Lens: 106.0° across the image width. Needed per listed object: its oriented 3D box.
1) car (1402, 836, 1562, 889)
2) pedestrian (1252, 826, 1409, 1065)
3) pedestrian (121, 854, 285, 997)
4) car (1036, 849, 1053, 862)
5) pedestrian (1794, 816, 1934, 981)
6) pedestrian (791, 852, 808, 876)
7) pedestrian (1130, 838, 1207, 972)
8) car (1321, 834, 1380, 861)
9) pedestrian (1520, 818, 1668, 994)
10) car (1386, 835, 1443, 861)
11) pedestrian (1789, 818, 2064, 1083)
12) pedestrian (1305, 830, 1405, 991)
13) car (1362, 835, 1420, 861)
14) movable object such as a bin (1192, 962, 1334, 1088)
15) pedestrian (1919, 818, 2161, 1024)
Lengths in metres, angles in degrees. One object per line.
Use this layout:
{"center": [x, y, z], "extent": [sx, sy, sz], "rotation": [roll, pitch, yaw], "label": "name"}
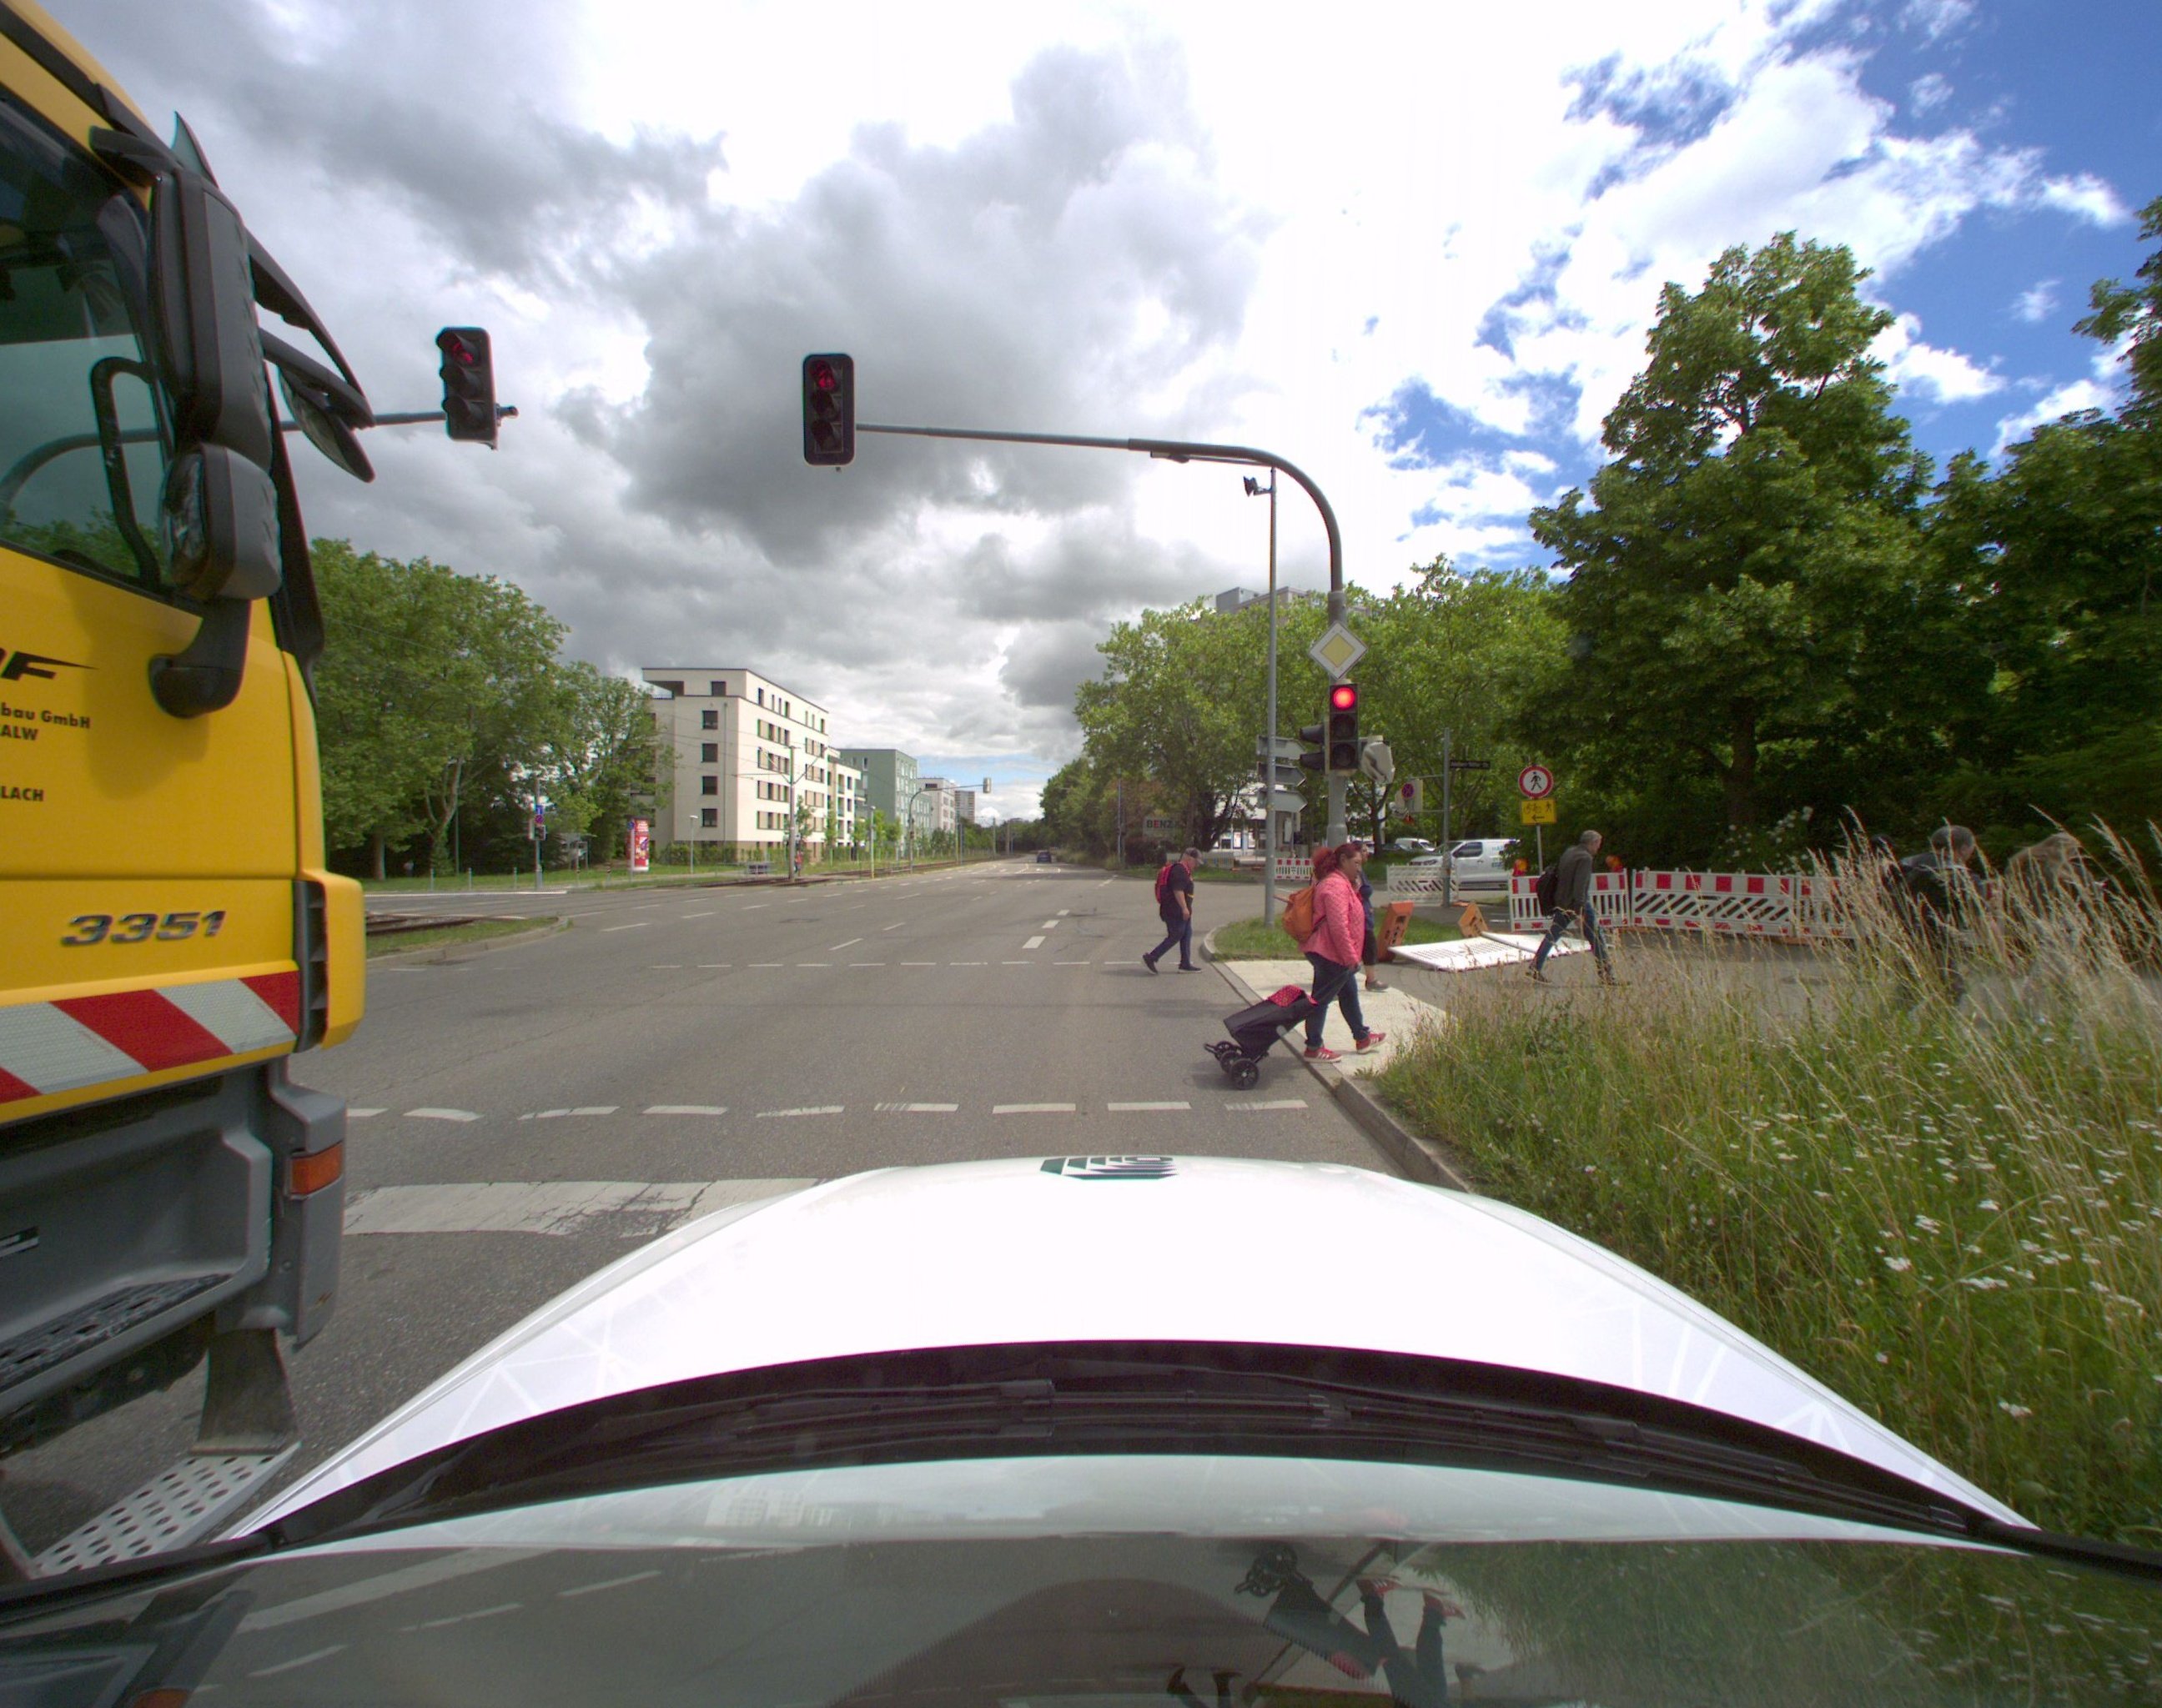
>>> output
{"center": [14.919, 0.299, 30.450], "extent": [5.063, 1.874, 1.947], "rotation": [-1, 0, -2], "label": "car"}
{"center": [1.709, 0.596, 5.696], "extent": [0.877, 1.554, 0.747], "rotation": [-1, 0, 2], "label": "pedestrian"}
{"center": [-10.084, 0.782, 9.399], "extent": [0.945, 1.552, 0.841], "rotation": [-1, 0, -8], "label": "pedestrian"}
{"center": [-4.435, 0.209, 98.764], "extent": [1.978, 1.486, 4.485], "rotation": [-1, 0, -4], "label": "car"}
{"center": [8.671, 0.470, 9.062], "extent": [0.777, 1.742, 0.830], "rotation": [-1, 0, 7], "label": "pedestrian"}
{"center": [-17.906, 0.610, 51.740], "extent": [0.827, 1.516, 0.636], "rotation": [-1, 0, 1], "label": "pedestrian"}
{"center": [1.119, 0.612, 10.220], "extent": [0.887, 1.596, 0.910], "rotation": [-1, 0, 10], "label": "pedestrian"}
{"center": [20.572, -0.487, 62.245], "extent": [2.006, 2.013, 3.962], "rotation": [-1, 0, -29], "label": "car"}
{"center": [5.459, 0.524, 8.736], "extent": [0.998, 1.773, 0.930], "rotation": [-1, 0, 2], "label": "pedestrian"}
{"center": [27.318, -0.498, 66.859], "extent": [2.006, 2.013, 3.962], "rotation": [-1, 0, -29], "label": "car"}
{"center": [5.697, 0.603, 5.557], "extent": [0.955, 1.648, 0.880], "rotation": [-1, 0, 0], "label": "pedestrian"}
{"center": [2.885, 0.560, 8.678], "extent": [0.906, 1.607, 0.932], "rotation": [-1, 0, 13], "label": "pedestrian"}
{"center": [24.603, -0.494, 64.726], "extent": [2.006, 2.013, 3.962], "rotation": [-1, 0, -29], "label": "car"}
{"center": [1.178, 1.108, 5.420], "extent": [0.792, 0.662, 0.778], "rotation": [-1, 0, 2], "label": "movable object such as a bin"}
{"center": [8.243, 0.540, 7.048], "extent": [1.015, 1.648, 0.931], "rotation": [-1, 0, 6], "label": "pedestrian"}
